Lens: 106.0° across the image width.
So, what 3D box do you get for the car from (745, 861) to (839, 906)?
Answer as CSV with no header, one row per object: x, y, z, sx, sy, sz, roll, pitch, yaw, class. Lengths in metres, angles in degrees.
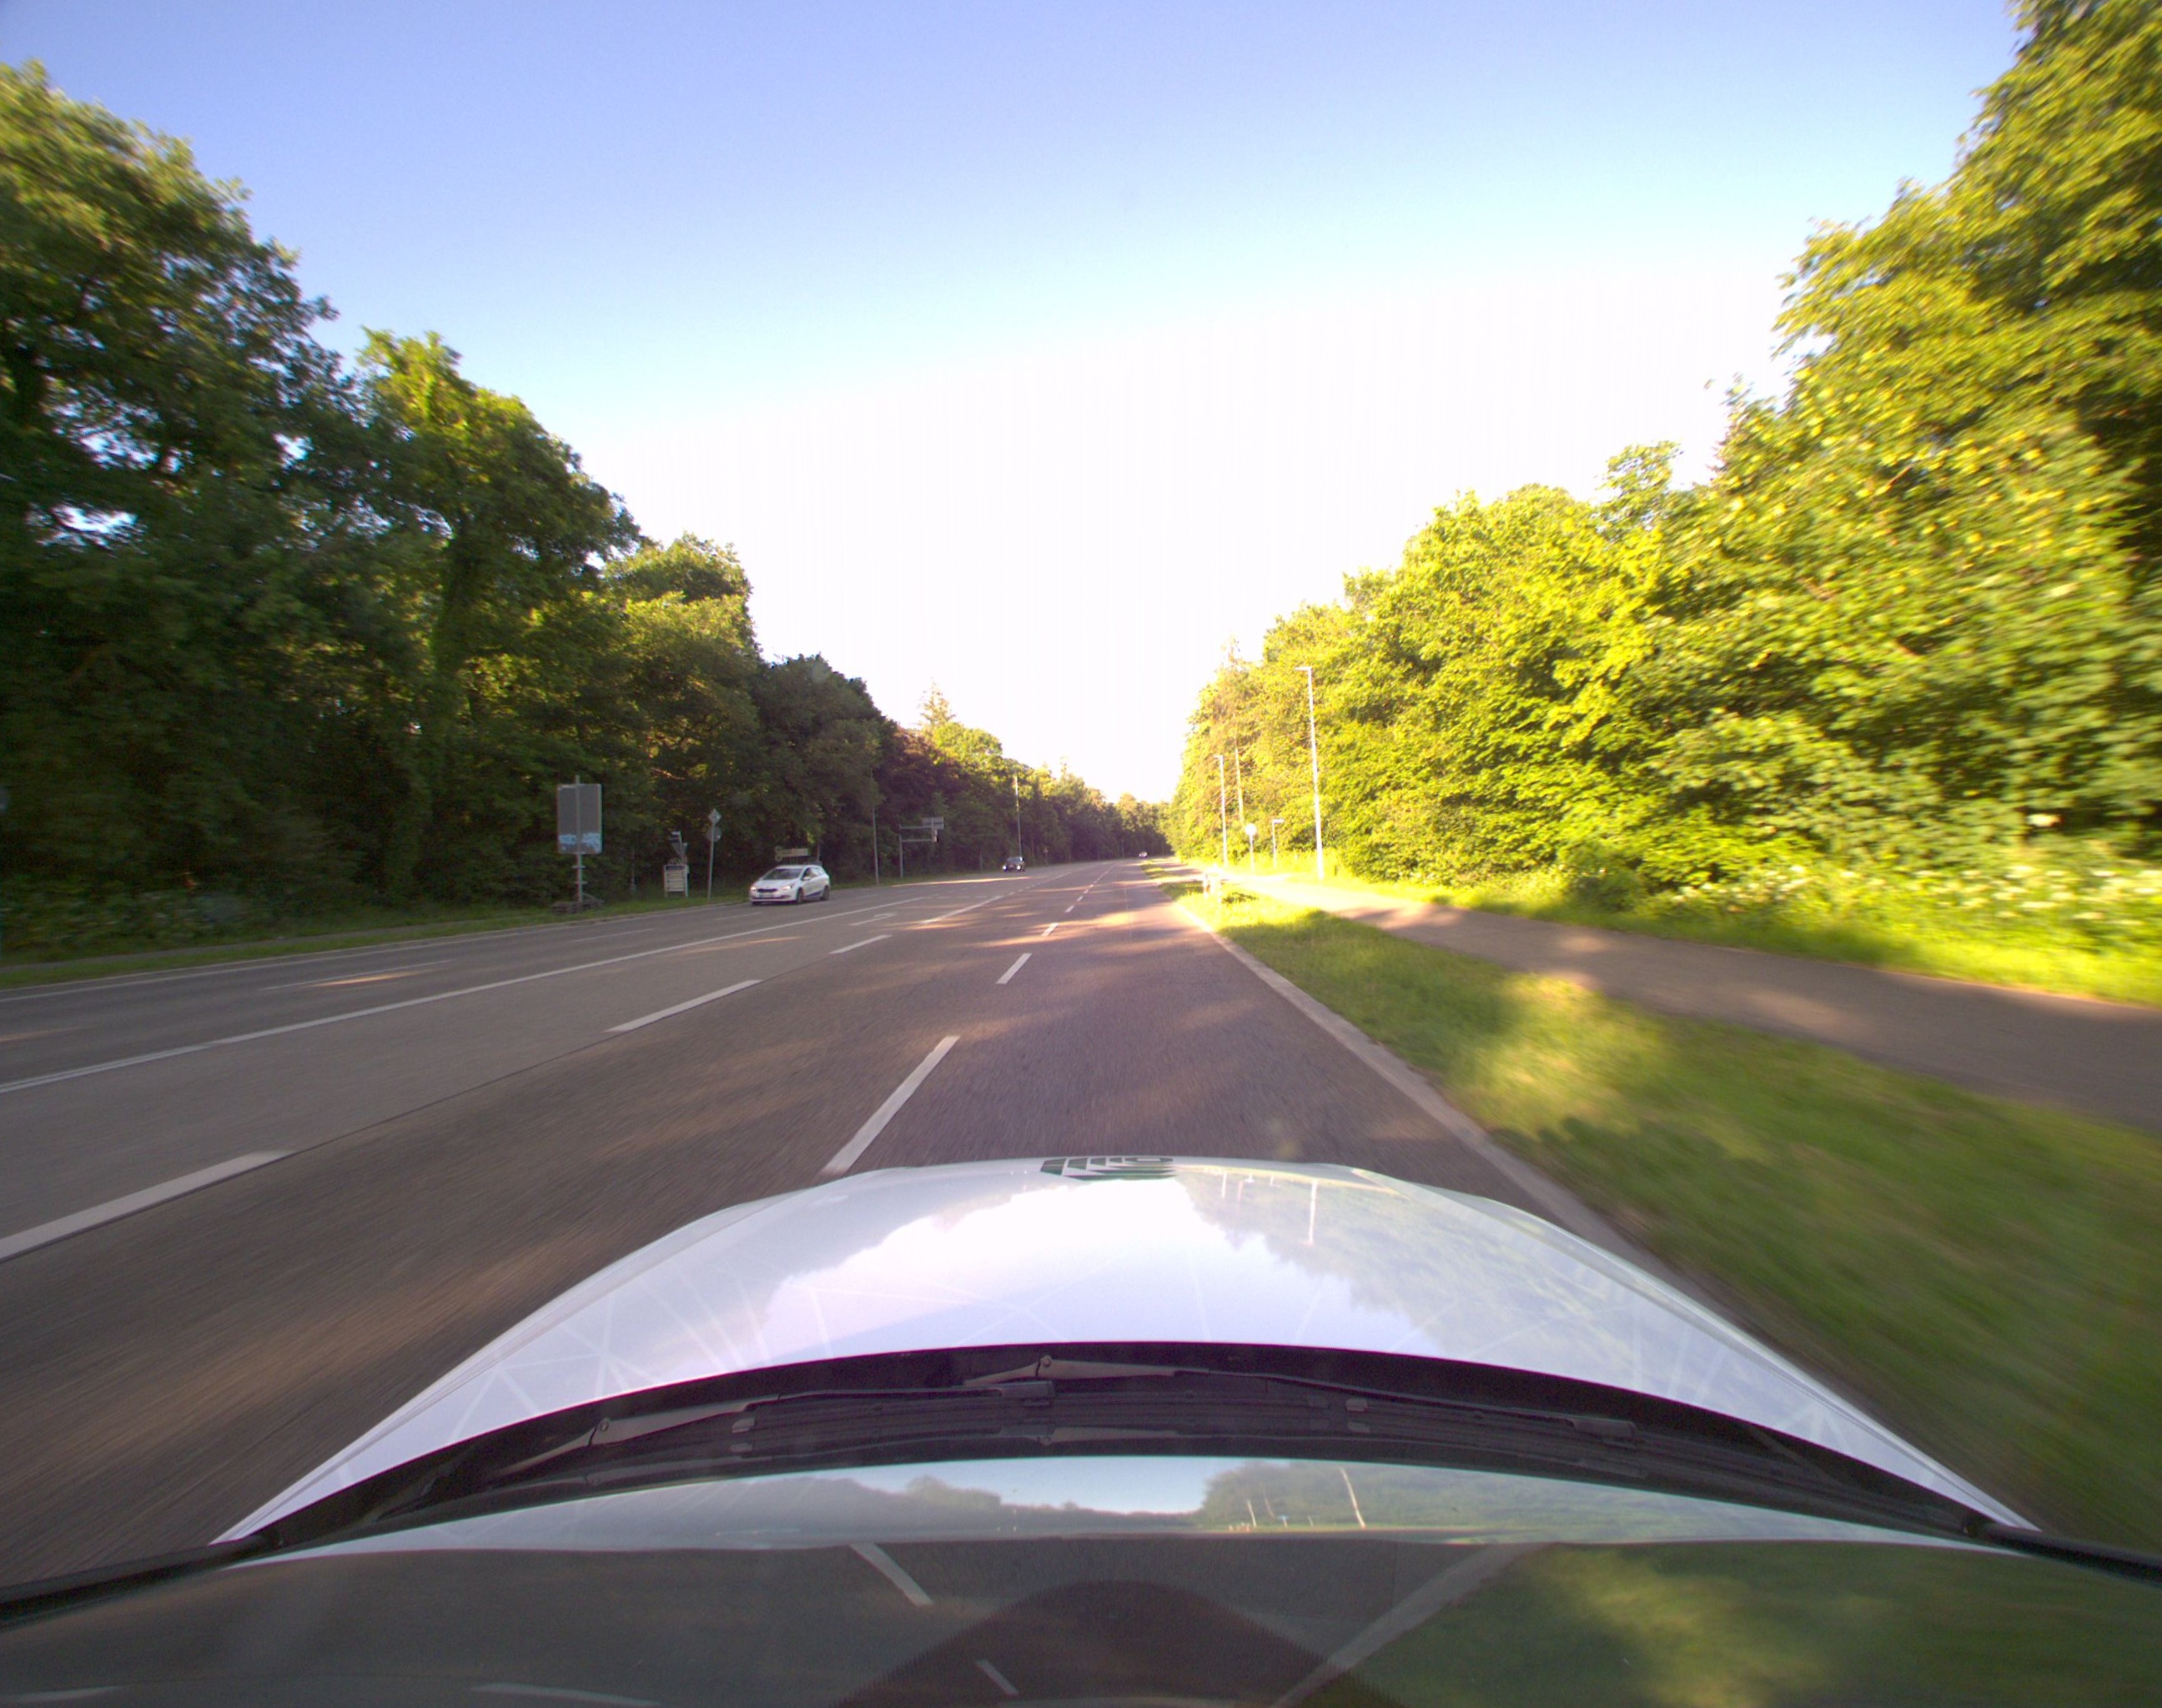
-11.063,1.088,31.528,1.817,1.504,4.310,-2,0,3,car

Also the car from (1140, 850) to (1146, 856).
18.438,-0.243,242.022,1.900,1.663,4.738,-2,0,4,car

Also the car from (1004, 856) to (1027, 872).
-6.880,1.000,86.082,1.817,1.589,4.355,-2,0,3,car
